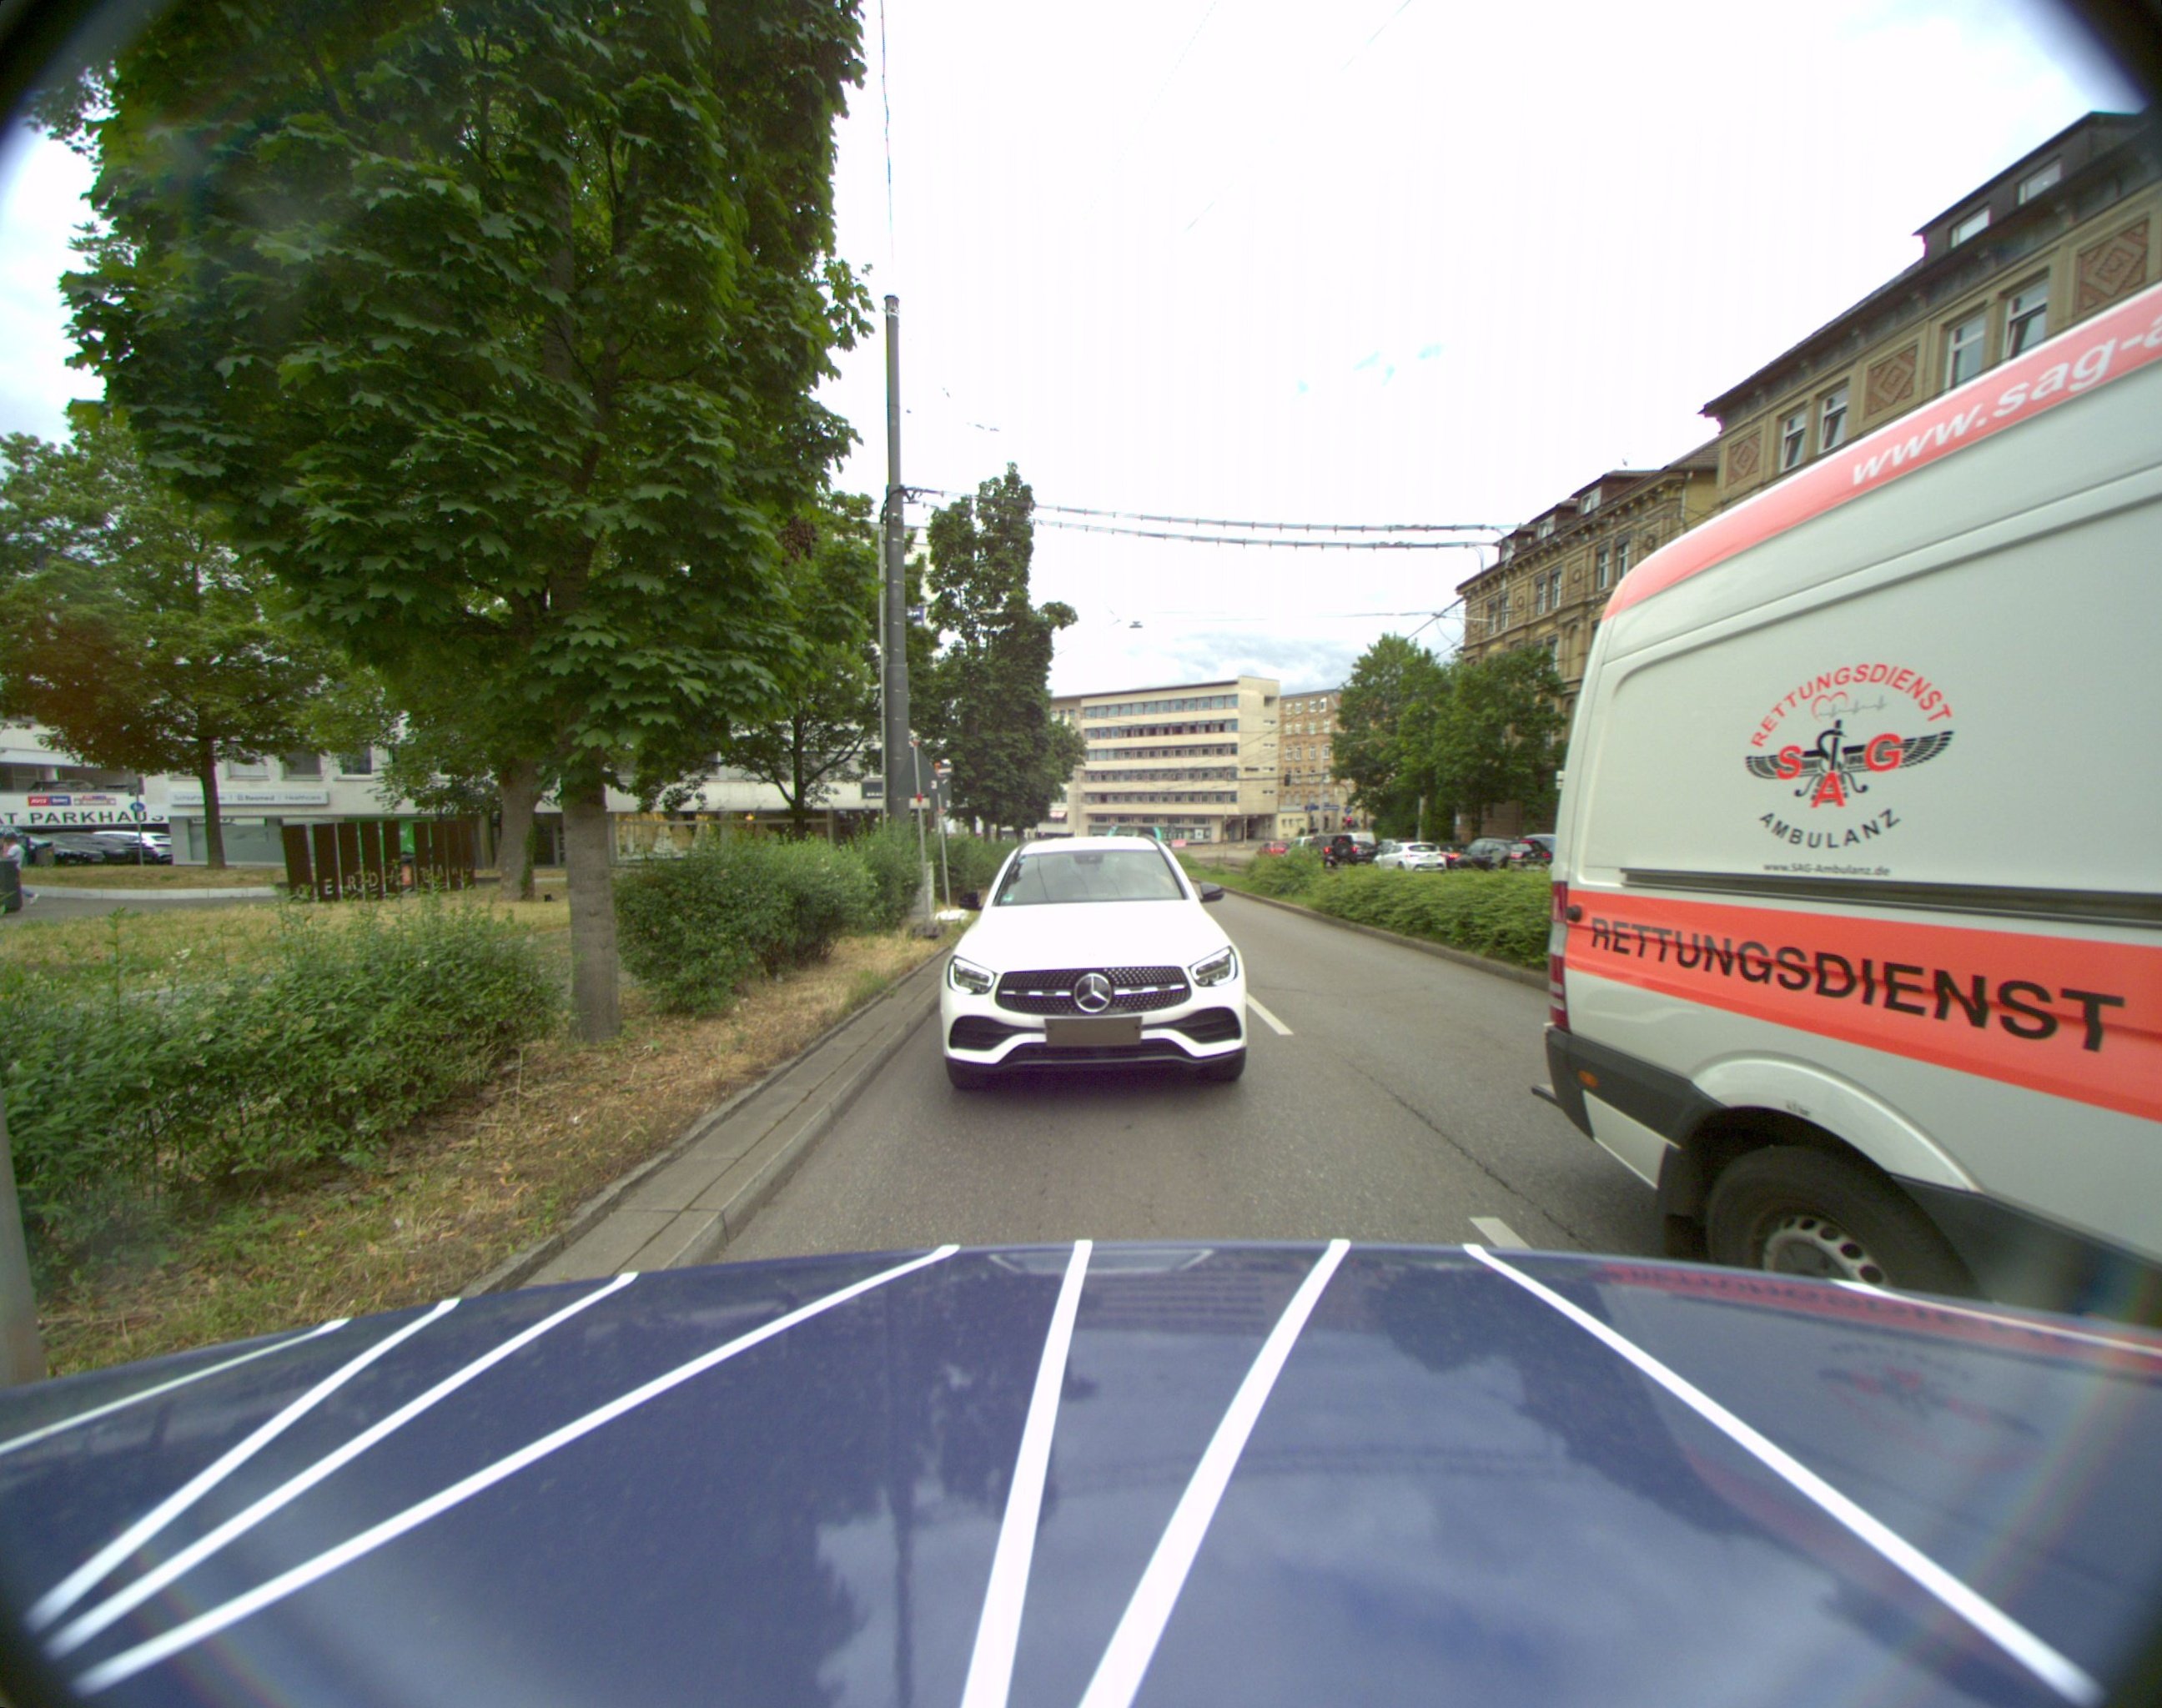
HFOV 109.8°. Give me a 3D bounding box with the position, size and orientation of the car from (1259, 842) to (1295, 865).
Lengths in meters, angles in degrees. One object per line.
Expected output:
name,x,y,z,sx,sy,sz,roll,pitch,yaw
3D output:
car,14.037,-0.073,54.598,1.681,1.620,3.843,0,1,2

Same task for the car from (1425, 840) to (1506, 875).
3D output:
car,16.925,0.113,33.674,1.726,1.443,3.747,0,1,1

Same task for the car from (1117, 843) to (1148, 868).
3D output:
car,3.520,0.090,52.457,1.930,1.563,4.180,-2,1,2

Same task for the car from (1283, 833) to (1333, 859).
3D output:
car,14.253,-0.509,48.003,1.998,1.575,3.999,0,1,1

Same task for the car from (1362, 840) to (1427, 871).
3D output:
car,16.746,0.038,40.778,1.759,1.561,3.999,0,1,-1

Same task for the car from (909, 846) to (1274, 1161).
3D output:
car,0.034,0.765,6.236,1.894,1.610,4.477,-1,1,-1

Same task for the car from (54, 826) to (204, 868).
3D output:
car,-43.222,-0.342,34.600,4.001,1.677,1.687,-3,2,-12

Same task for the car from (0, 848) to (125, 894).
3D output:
car,-40.951,0.637,29.747,4.000,1.707,1.998,0,1,-10

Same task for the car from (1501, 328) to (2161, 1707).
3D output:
car,2.724,0.516,0.193,2.039,2.684,5.853,-1,1,1

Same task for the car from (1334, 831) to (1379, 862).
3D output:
car,19.383,-0.574,53.627,1.794,2.109,3.916,0,1,1

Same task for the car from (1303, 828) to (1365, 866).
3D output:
car,14.227,-0.422,43.017,2.147,2.002,4.747,0,1,3

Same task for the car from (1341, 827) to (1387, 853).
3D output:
car,21.325,-1.039,57.405,1.848,1.905,3.998,0,1,-3

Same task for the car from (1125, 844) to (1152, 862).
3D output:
car,4.940,-0.115,64.876,1.997,1.543,4.319,0,1,8

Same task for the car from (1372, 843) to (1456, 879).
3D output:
car,14.440,0.252,33.186,1.899,1.487,3.999,0,1,0

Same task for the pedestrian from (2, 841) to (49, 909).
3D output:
pedestrian,-24.077,0.456,17.331,0.672,1.525,0.529,1,2,30

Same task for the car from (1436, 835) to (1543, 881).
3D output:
car,14.236,0.093,26.698,1.759,1.521,3.759,0,1,1

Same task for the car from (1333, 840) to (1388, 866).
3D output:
car,16.742,-0.116,45.780,1.888,1.502,3.999,0,1,1

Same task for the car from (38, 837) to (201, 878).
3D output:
car,-41.366,0.108,32.787,4.000,1.707,1.998,0,1,-10
